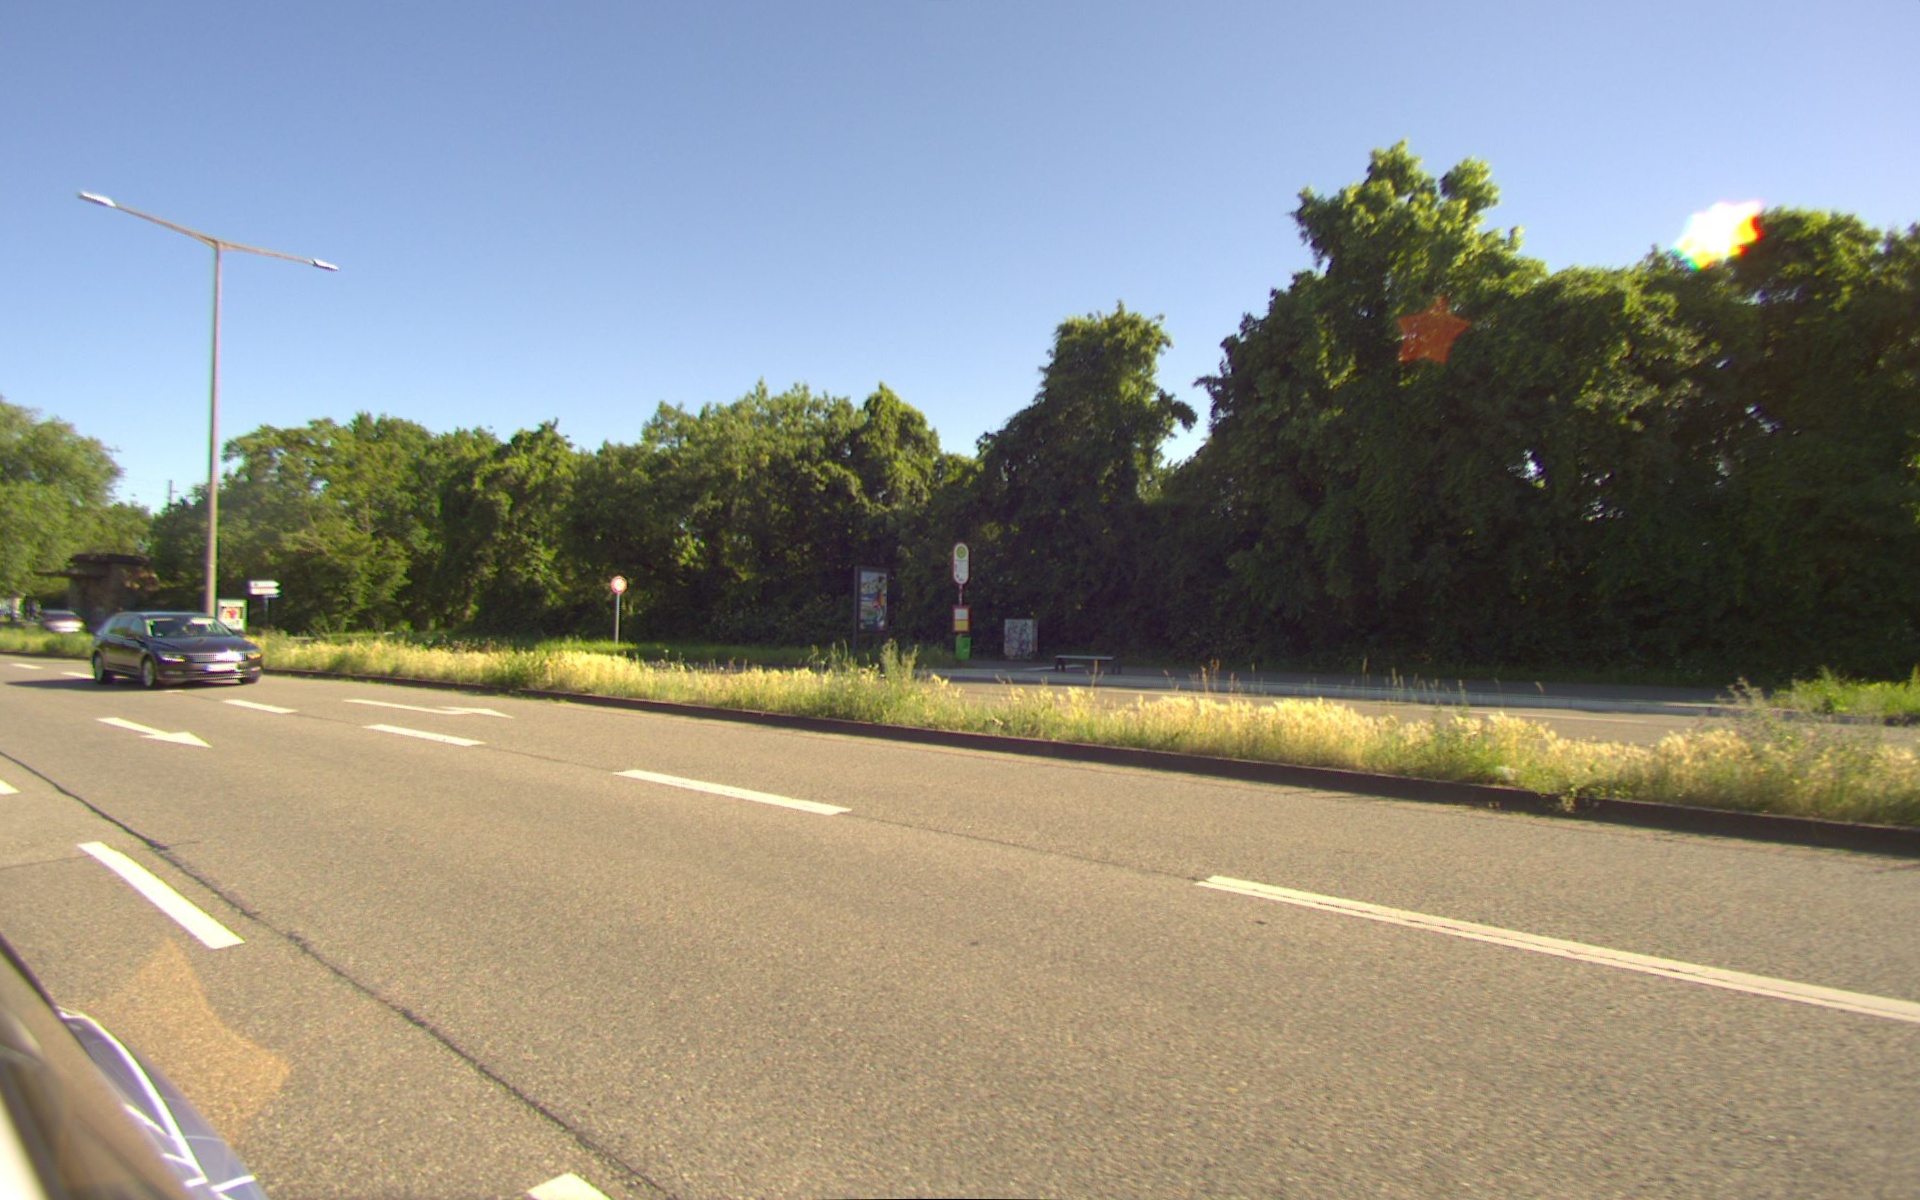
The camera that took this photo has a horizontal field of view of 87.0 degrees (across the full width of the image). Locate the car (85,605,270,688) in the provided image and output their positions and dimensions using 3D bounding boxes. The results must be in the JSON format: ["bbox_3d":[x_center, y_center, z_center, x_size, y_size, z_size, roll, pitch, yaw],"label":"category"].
[{"bbox_3d":[-15.823,0.888,20.421,3.990,1.507,1.776,-1,0,34],"label":"car"}]

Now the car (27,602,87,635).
[{"bbox_3d":[-47.919,0.969,53.671,3.833,1.633,1.850,-1,0,40],"label":"car"}]
